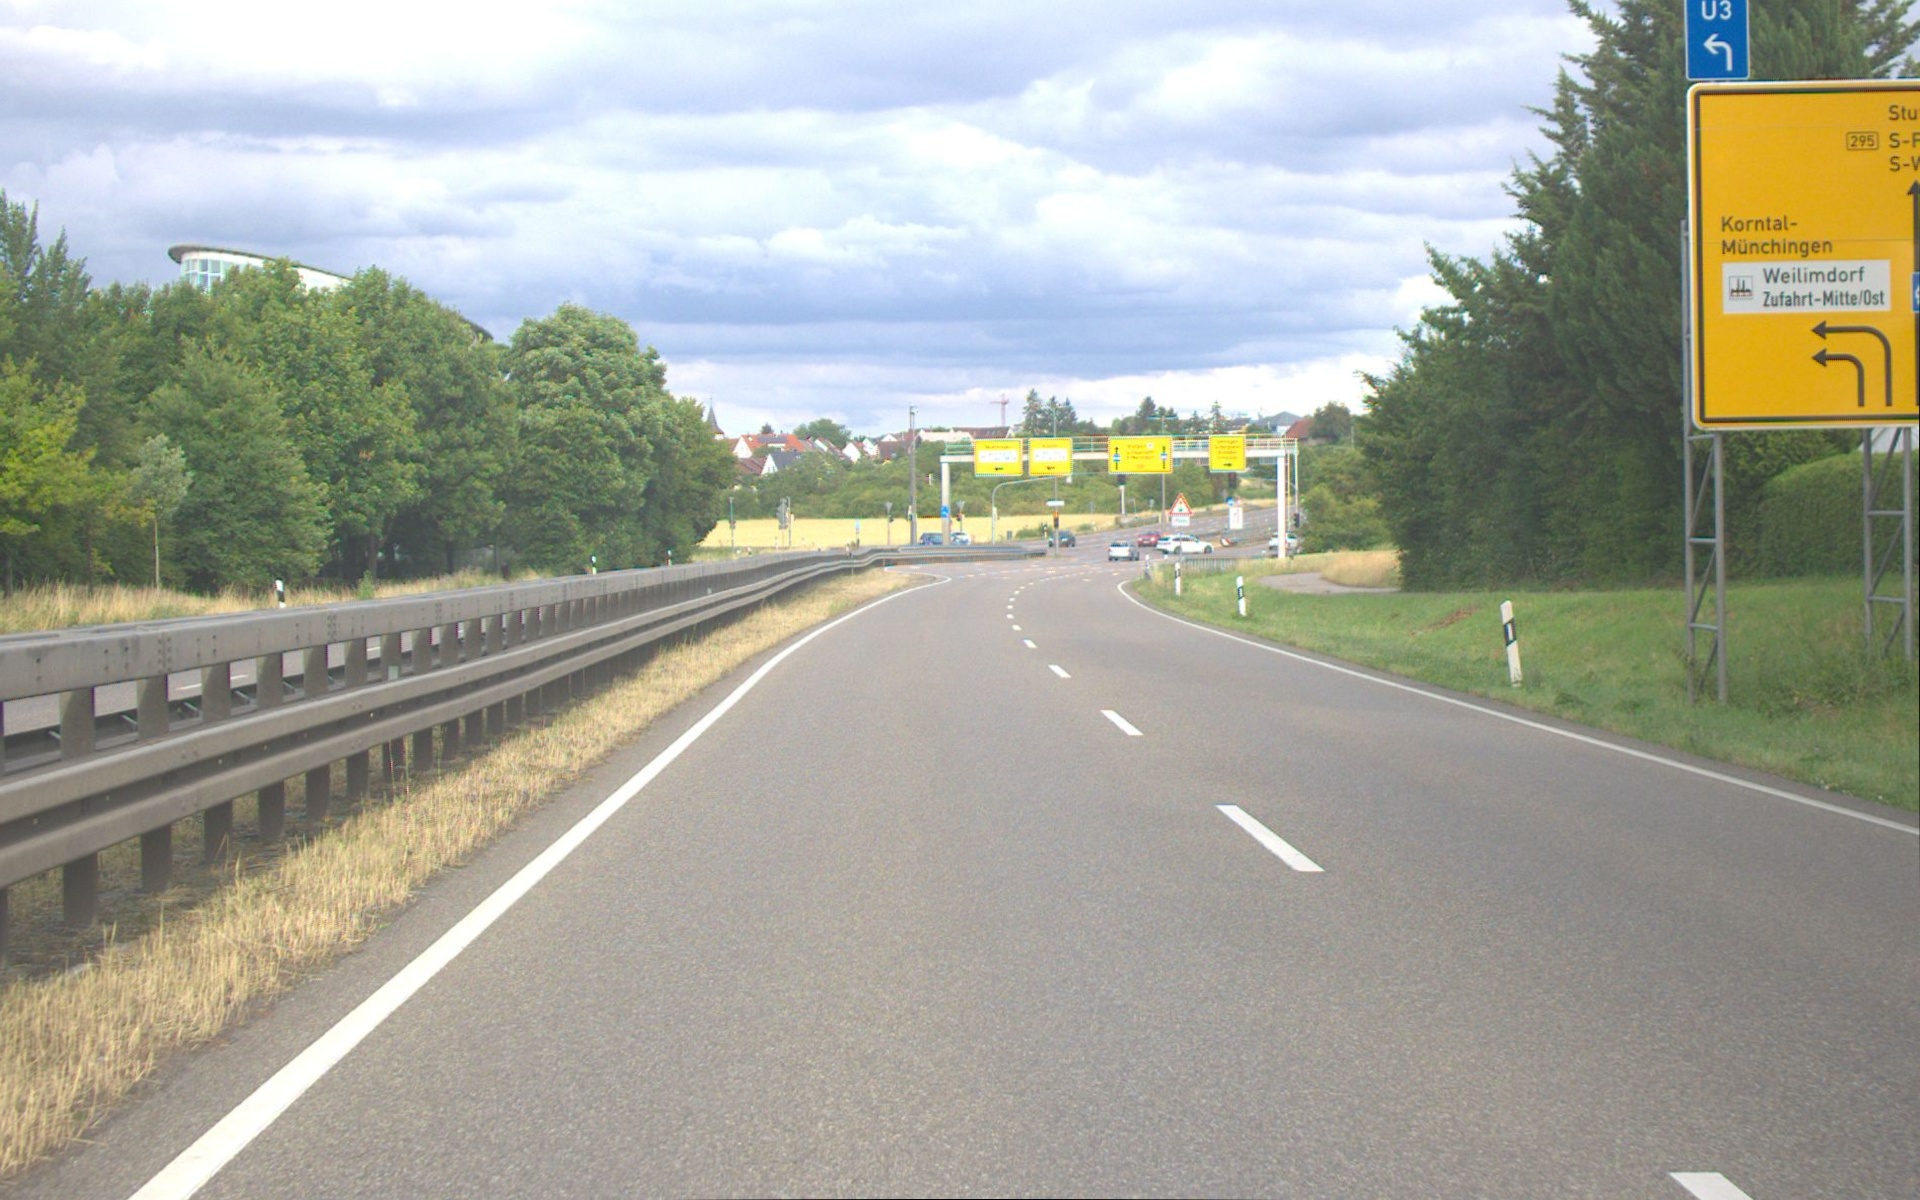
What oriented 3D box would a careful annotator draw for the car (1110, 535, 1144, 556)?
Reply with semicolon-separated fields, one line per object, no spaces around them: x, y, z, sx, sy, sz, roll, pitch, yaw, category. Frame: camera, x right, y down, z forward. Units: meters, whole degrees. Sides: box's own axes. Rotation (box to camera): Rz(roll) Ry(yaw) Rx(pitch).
12.119;-3.948;249.411;1.799;1.551;3.998;0;1;13;car
